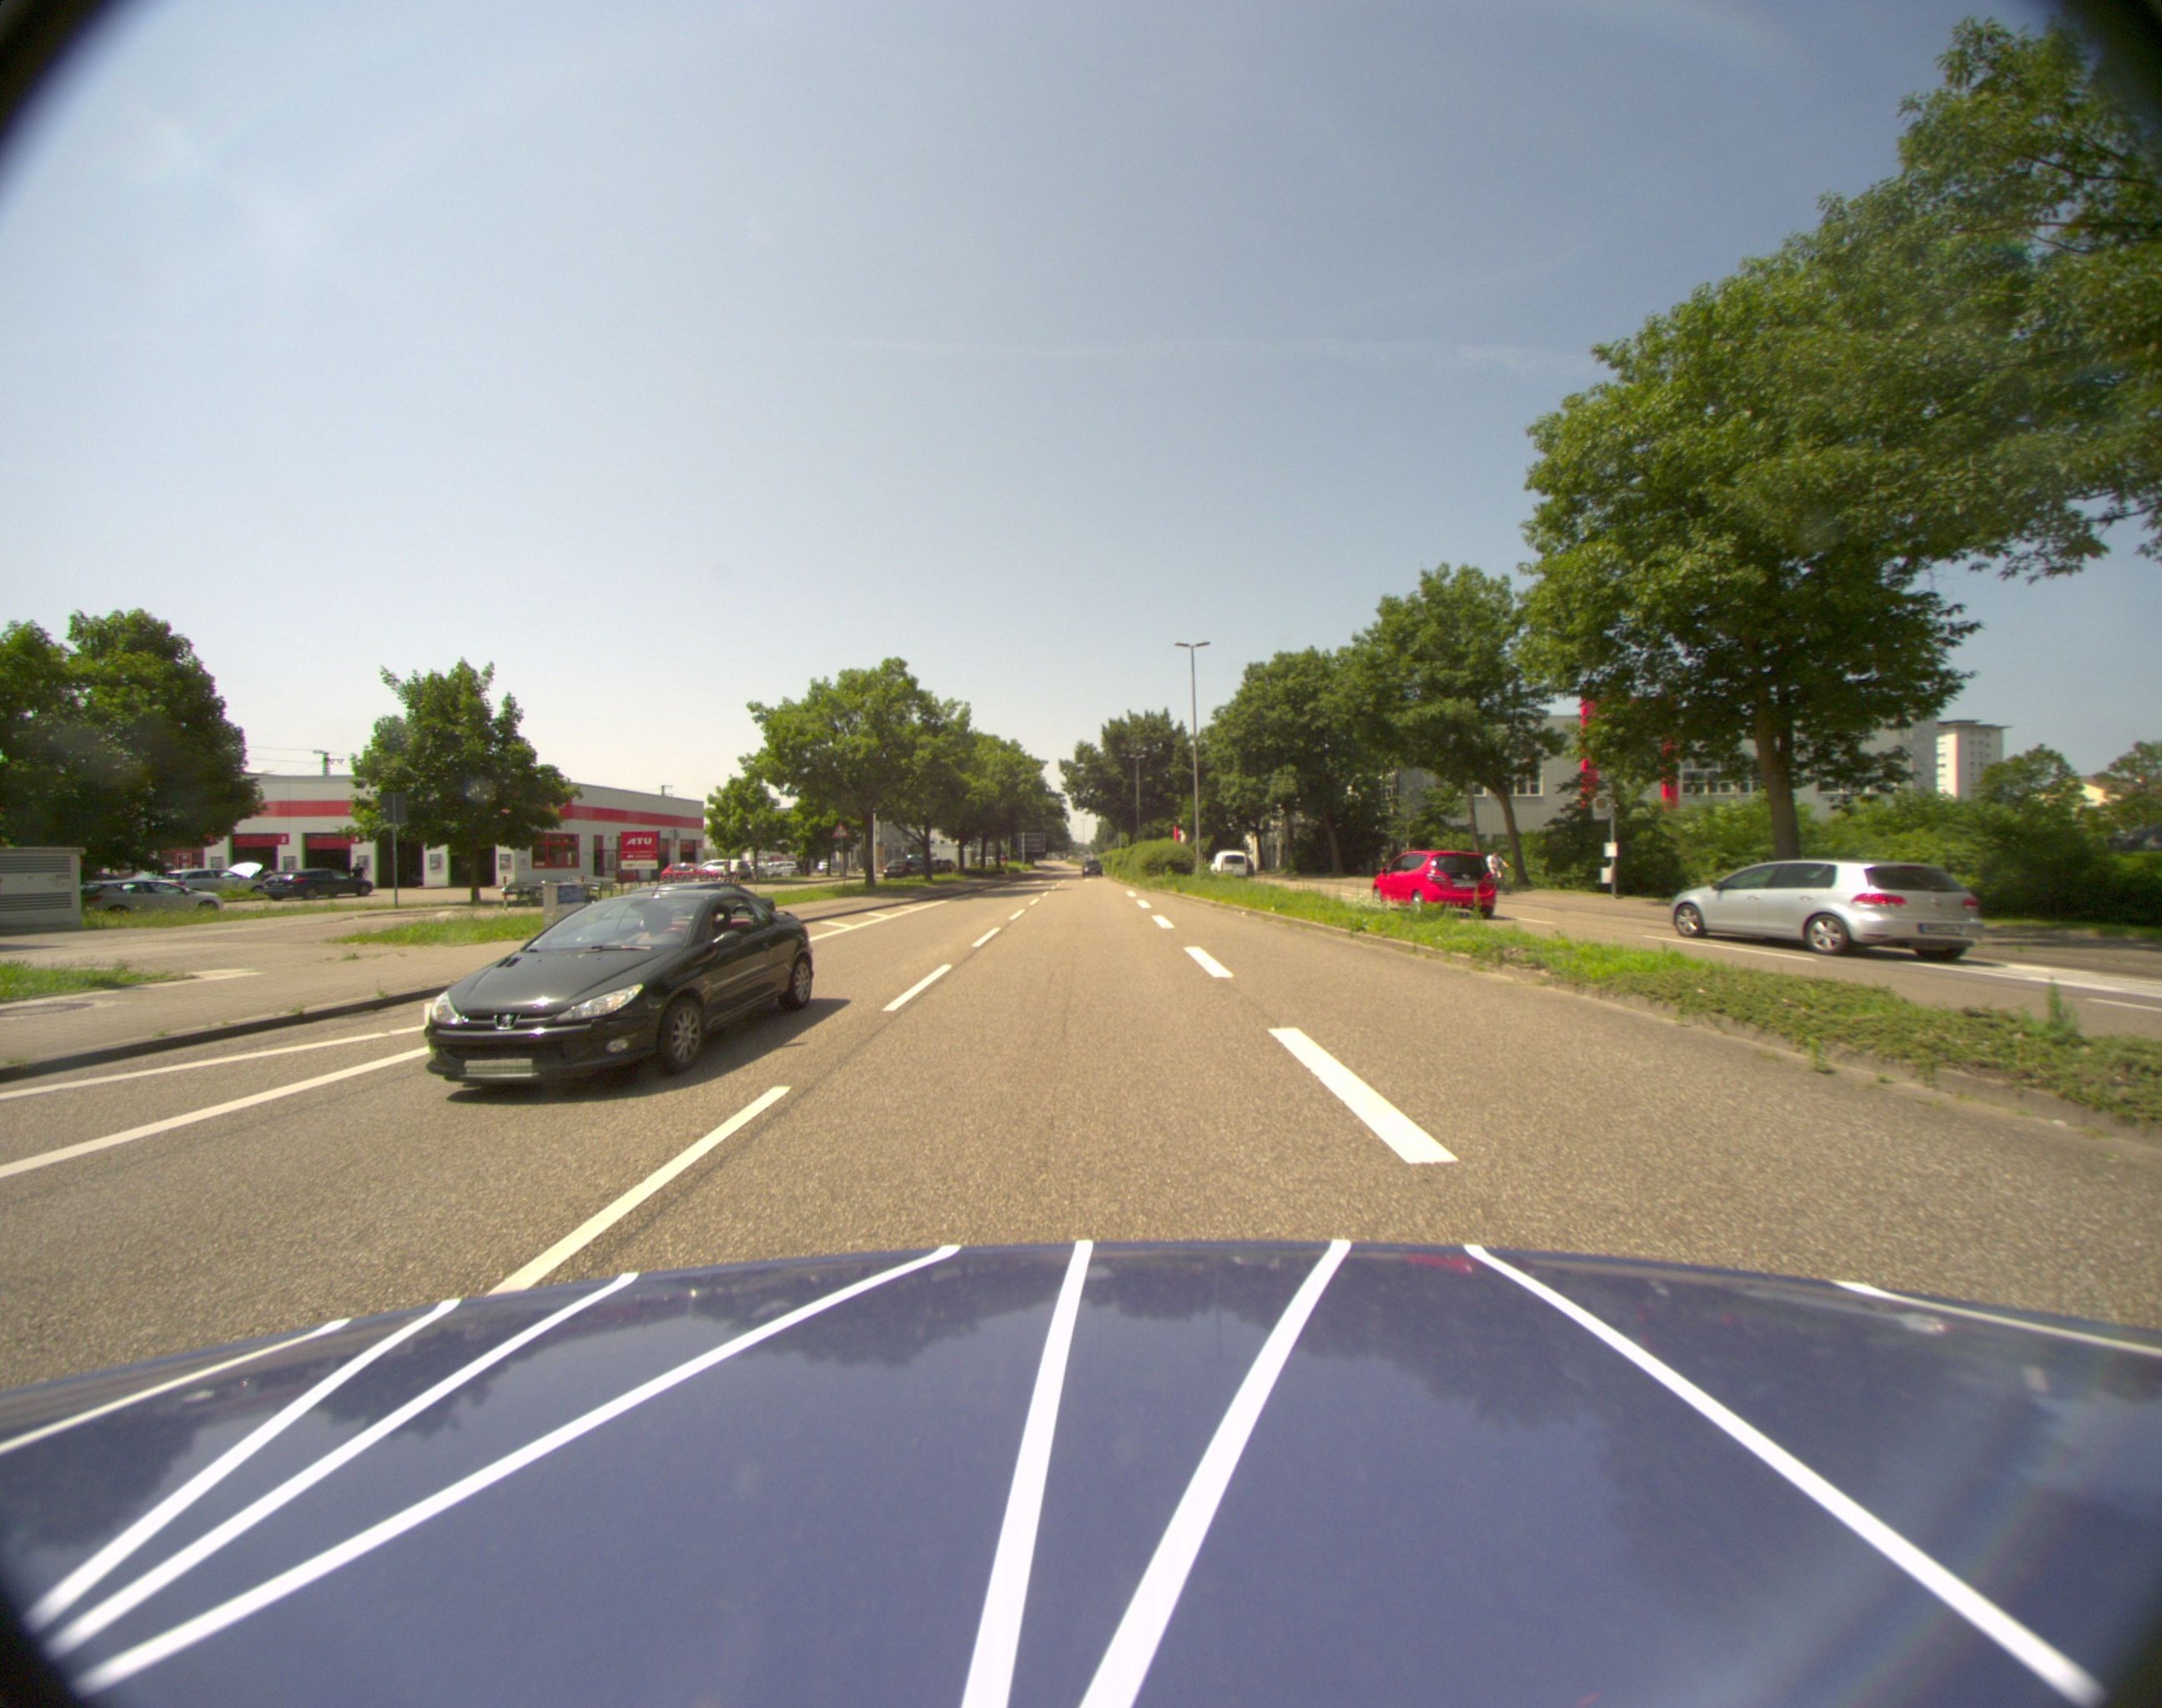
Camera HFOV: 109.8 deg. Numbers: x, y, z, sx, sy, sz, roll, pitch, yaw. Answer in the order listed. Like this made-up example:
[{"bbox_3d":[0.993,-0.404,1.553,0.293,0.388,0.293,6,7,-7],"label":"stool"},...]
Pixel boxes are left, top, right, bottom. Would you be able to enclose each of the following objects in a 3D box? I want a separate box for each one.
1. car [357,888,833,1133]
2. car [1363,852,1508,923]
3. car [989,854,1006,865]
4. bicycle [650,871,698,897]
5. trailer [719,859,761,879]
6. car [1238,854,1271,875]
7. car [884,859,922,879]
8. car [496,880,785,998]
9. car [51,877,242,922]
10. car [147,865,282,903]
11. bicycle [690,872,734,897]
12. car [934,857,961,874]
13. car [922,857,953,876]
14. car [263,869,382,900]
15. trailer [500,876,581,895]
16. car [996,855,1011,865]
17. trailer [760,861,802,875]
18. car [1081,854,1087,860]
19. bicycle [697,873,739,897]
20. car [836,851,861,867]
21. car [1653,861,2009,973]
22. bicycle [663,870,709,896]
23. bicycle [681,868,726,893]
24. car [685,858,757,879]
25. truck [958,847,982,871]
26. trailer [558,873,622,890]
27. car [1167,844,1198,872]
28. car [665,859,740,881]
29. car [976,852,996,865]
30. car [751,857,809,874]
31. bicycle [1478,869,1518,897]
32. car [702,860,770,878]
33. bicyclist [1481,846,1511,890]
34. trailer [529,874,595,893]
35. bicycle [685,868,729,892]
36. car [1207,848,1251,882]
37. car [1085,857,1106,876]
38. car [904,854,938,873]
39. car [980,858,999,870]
[{"bbox_3d":[-3.768,1.094,6.866,1.642,1.336,4.000,-3,0,1],"label":"car"},{"bbox_3d":[8.800,0.759,19.290,1.753,1.560,4.153,2,0,1],"label":"car"},{"bbox_3d":[-11.371,0.795,103.554,1.719,1.458,4.000,-1,0,2],"label":"car"},{"bbox_3d":[-18.065,1.341,33.731,1.784,1.117,0.514,-1,0,-5],"label":"bicycle"},{"bbox_3d":[-26.454,1.134,59.020,2.642,1.518,1.415,-1,0,-1],"label":"trailer"},{"bbox_3d":[14.059,0.816,61.889,1.720,1.594,4.213,2,0,1],"label":"car"},{"bbox_3d":[-12.705,1.049,54.328,1.642,1.363,4.000,-1,0,2],"label":"car"},{"bbox_3d":[-6.671,1.213,12.132,1.641,1.363,4.148,-3,0,10],"label":"car"},{"bbox_3d":[-32.094,1.518,26.286,1.652,1.305,3.973,0,0,1],"label":"car"},{"bbox_3d":[-41.680,1.415,36.705,1.717,1.653,4.145,0,0,1],"label":"car"},{"bbox_3d":[-17.725,1.461,36.521,1.784,1.117,0.514,-1,0,-5],"label":"bicycle"},{"bbox_3d":[-12.543,1.041,71.675,1.719,1.504,4.000,-1,0,2],"label":"car"},{"bbox_3d":[-12.359,1.063,65.646,1.719,1.511,4.000,-1,0,2],"label":"car"},{"bbox_3d":[-37.530,1.494,37.780,1.717,1.364,4.145,0,0,1],"label":"car"},{"bbox_3d":[-23.353,1.351,32.883,2.466,0.757,1.449,-1,0,2],"label":"trailer"},{"bbox_3d":[-11.198,0.845,109.840,1.719,1.458,4.000,-1,0,2],"label":"car"},{"bbox_3d":[-23.296,1.085,59.123,2.642,1.046,1.578,-1,0,-1],"label":"trailer"},{"bbox_3d":[0.916,0.873,226.506,1.998,1.692,4.000,-1,0,1],"label":"car"},{"bbox_3d":[-17.761,1.509,37.221,1.784,1.117,0.514,-1,0,-5],"label":"bicycle"},{"bbox_3d":[-24.617,0.544,80.560,1.759,1.586,3.998,-1,0,-6],"label":"car"},{"bbox_3d":[11.818,0.877,12.466,1.753,1.443,4.133,2,0,1],"label":"car"},{"bbox_3d":[-17.875,1.318,34.427,1.784,1.117,0.514,-1,0,-5],"label":"bicycle"},{"bbox_3d":[-17.541,1.220,35.298,1.784,1.117,0.514,-1,0,-5],"label":"bicycle"},{"bbox_3d":[-24.399,0.980,51.575,3.998,1.394,1.747,-1,0,-2],"label":"car"},{"bbox_3d":[-12.139,0.583,83.466,1.904,2.552,4.001,-1,0,3],"label":"truck"},{"bbox_3d":[-23.467,1.307,36.361,2.137,0.757,1.394,-1,0,2],"label":"trailer"},{"bbox_3d":[9.827,0.391,73.941,2.271,2.552,6.058,1,0,1],"label":"car"},{"bbox_3d":[-24.420,1.024,49.112,3.997,1.394,1.747,-1,0,-1],"label":"car"},{"bbox_3d":[-11.113,0.557,89.238,1.719,1.458,4.000,-1,0,2],"label":"car"},{"bbox_3d":[-24.241,0.890,61.252,3.998,1.293,1.689,-1,0,-2],"label":"car"},{"bbox_3d":[15.325,1.048,27.982,0.618,0.963,1.660,0,0,2],"label":"bicycle"},{"bbox_3d":[-24.354,1.044,53.706,3.998,1.201,1.747,-1,0,-2],"label":"car"},{"bbox_3d":[15.336,0.503,28.090,0.609,1.621,0.923,0,1,1],"label":"bicyclist"},{"bbox_3d":[-23.696,1.343,34.743,2.137,0.757,1.267,-1,0,2],"label":"trailer"},{"bbox_3d":[-17.662,1.230,35.913,1.784,1.117,0.514,-1,0,-5],"label":"bicycle"},{"bbox_3d":[9.183,0.659,47.441,1.856,1.894,4.426,2,0,0],"label":"car"},{"bbox_3d":[1.117,0.950,60.246,1.642,1.395,4.000,-1,0,0],"label":"car"},{"bbox_3d":[-12.618,0.752,60.270,1.719,1.458,4.000,-1,0,2],"label":"car"},{"bbox_3d":[-11.530,1.299,95.820,1.719,1.458,4.000,-1,0,2],"label":"car"}]
